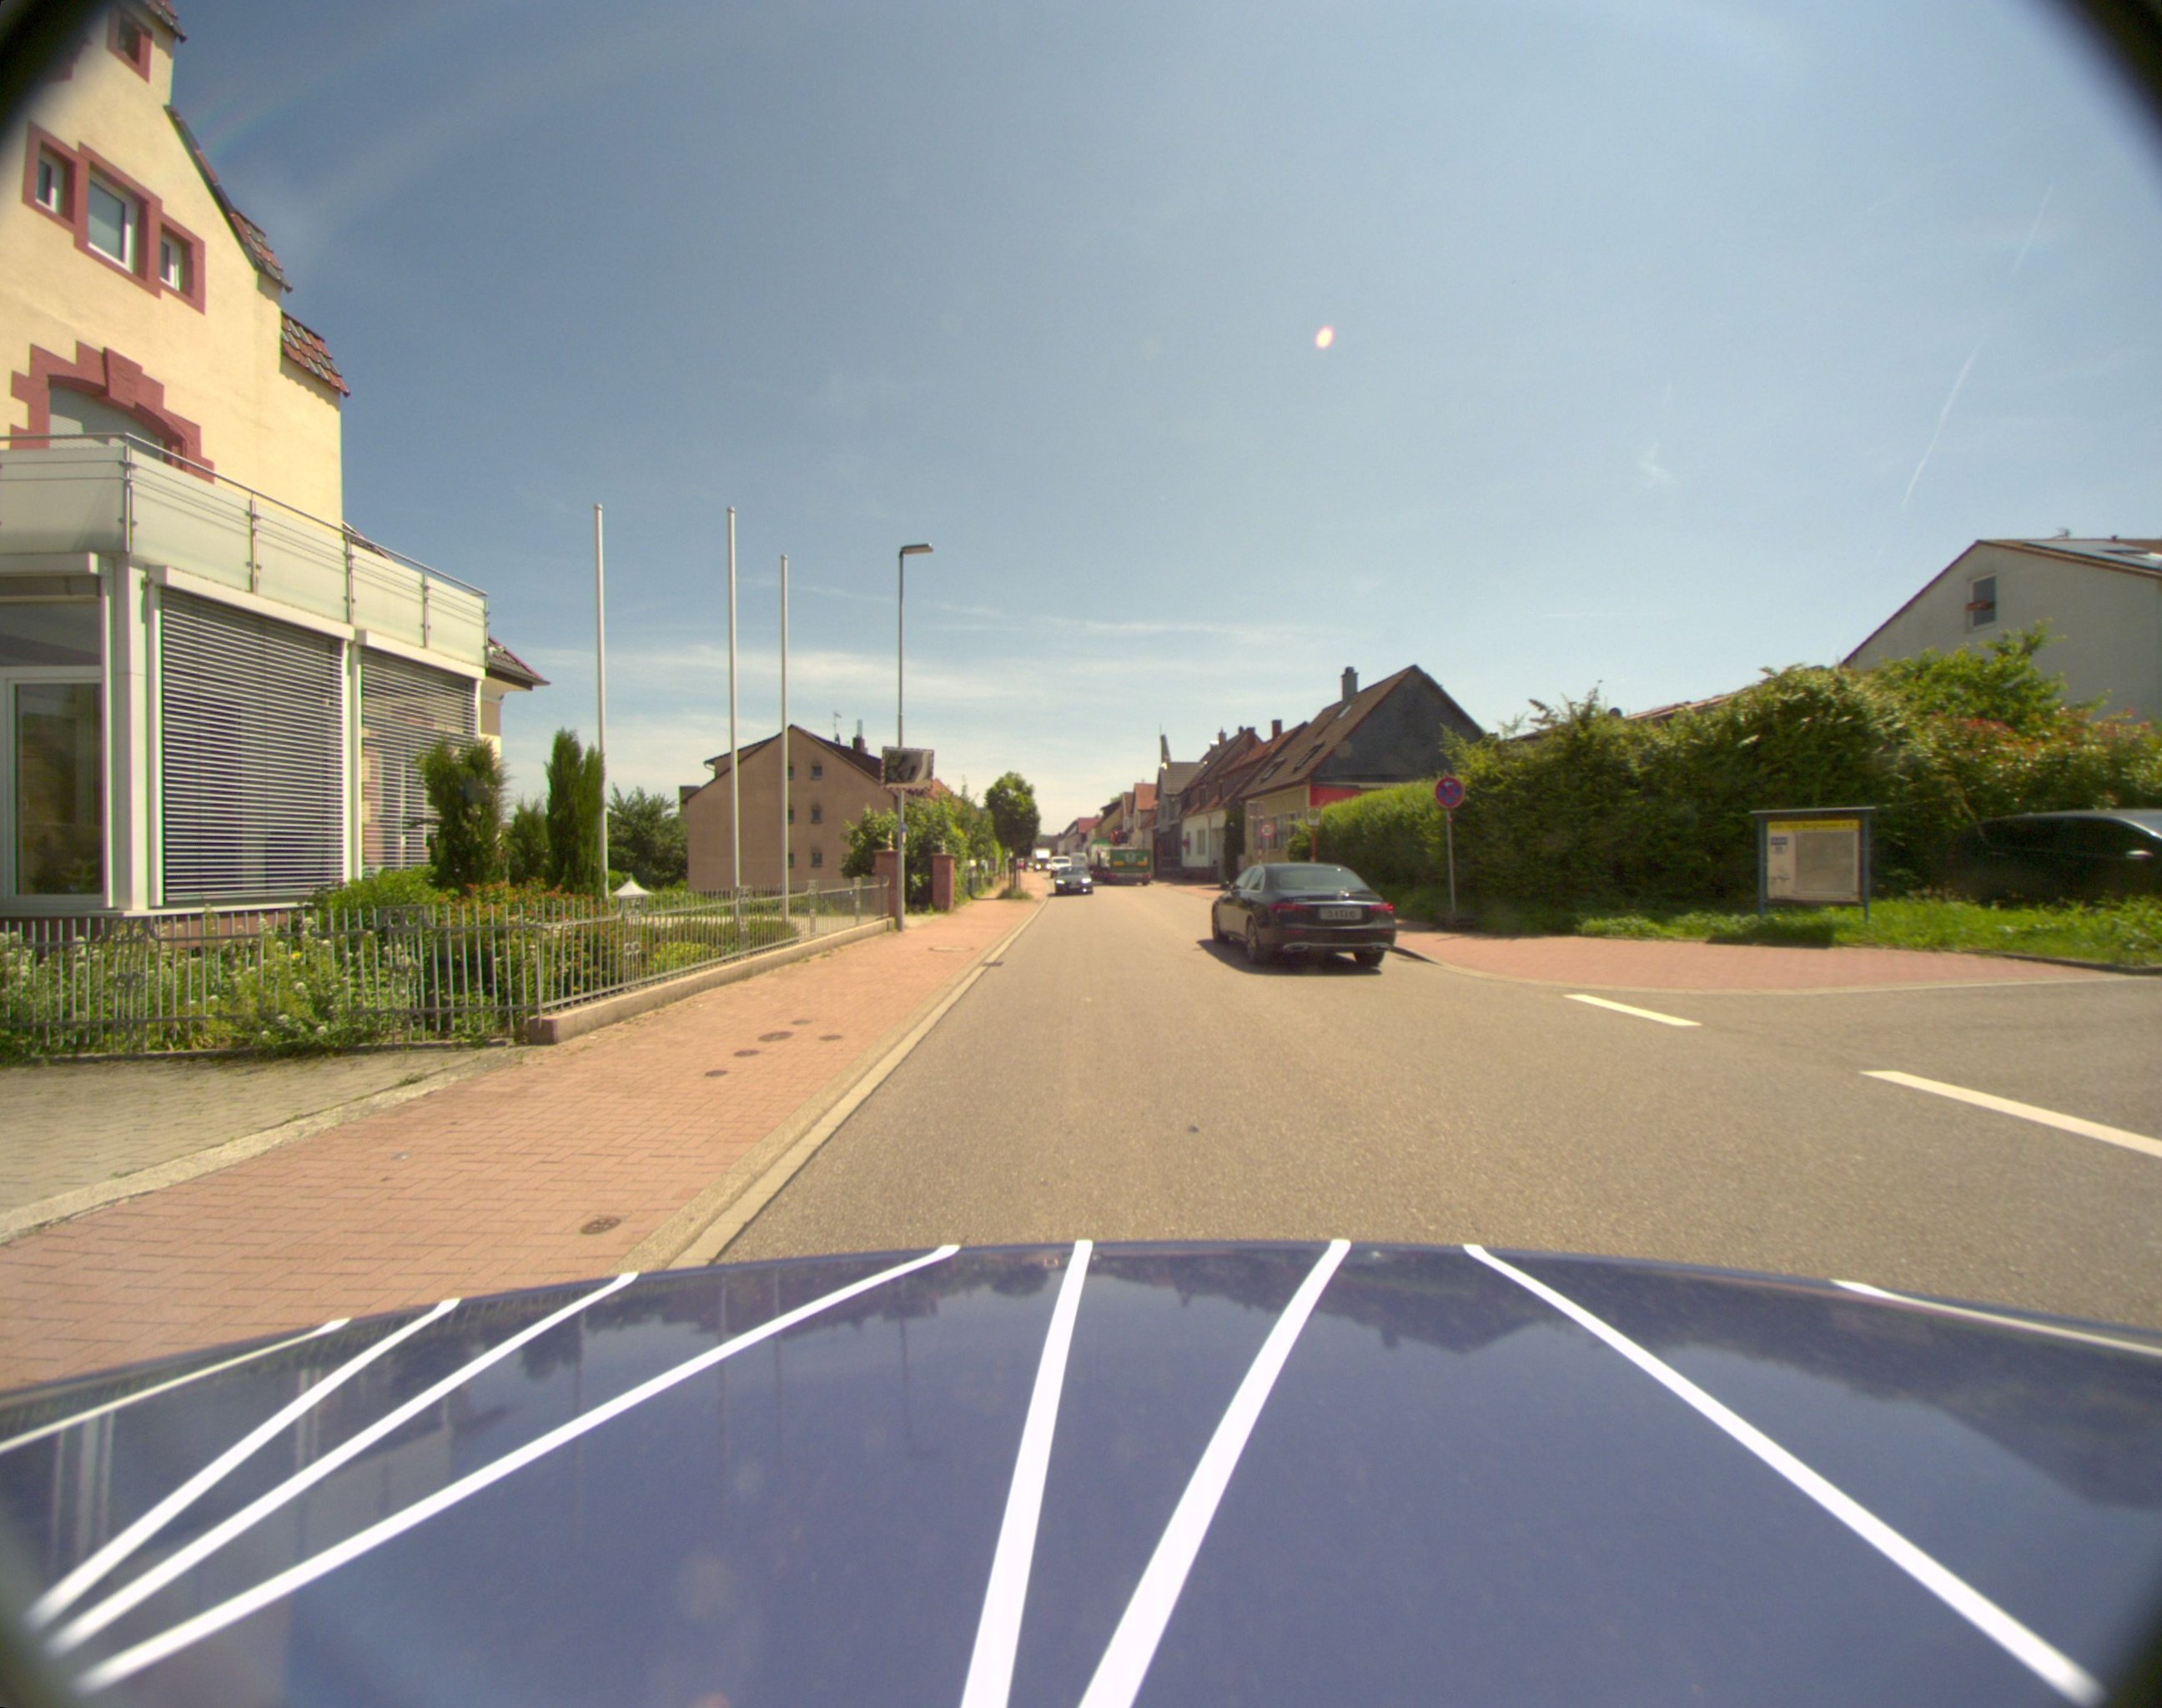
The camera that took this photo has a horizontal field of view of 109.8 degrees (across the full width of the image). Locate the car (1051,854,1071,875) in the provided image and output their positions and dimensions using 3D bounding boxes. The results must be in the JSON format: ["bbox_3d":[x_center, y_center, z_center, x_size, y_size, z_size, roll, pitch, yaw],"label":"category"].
[{"bbox_3d":[-1.818,0.949,68.354,1.637,1.833,3.569,-1,0,-3],"label":"car"}]

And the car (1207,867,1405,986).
[{"bbox_3d":[3.249,0.959,12.002,1.734,1.451,4.694,0,0,0],"label":"car"}]

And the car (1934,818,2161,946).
[{"bbox_3d":[14.217,0.323,10.140,1.627,1.531,3.653,-4,0,4],"label":"car"}]

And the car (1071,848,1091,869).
[{"bbox_3d":[-0.027,0.531,93.535,2.035,2.446,6.066,0,0,-3],"label":"car"}]

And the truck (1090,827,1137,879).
[{"bbox_3d":[2.374,-0.057,58.845,2.574,3.678,10.074,0,0,-4],"label":"truck"}]

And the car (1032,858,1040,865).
[{"bbox_3d":[-9.556,1.587,162.462,1.508,1.432,3.534,-3,1,-4],"label":"car"}]

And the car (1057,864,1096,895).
[{"bbox_3d":[-0.255,1.182,36.713,1.705,1.346,3.999,-2,0,-2],"label":"car"}]

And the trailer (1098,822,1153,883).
[{"bbox_3d":[2.782,-0.075,49.545,2.537,3.627,8.458,0,0,-4],"label":"trailer"}]

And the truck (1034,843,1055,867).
[{"bbox_3d":[-5.821,0.163,120.233,2.899,3.516,12.948,-1,0,-4],"label":"truck"}]
